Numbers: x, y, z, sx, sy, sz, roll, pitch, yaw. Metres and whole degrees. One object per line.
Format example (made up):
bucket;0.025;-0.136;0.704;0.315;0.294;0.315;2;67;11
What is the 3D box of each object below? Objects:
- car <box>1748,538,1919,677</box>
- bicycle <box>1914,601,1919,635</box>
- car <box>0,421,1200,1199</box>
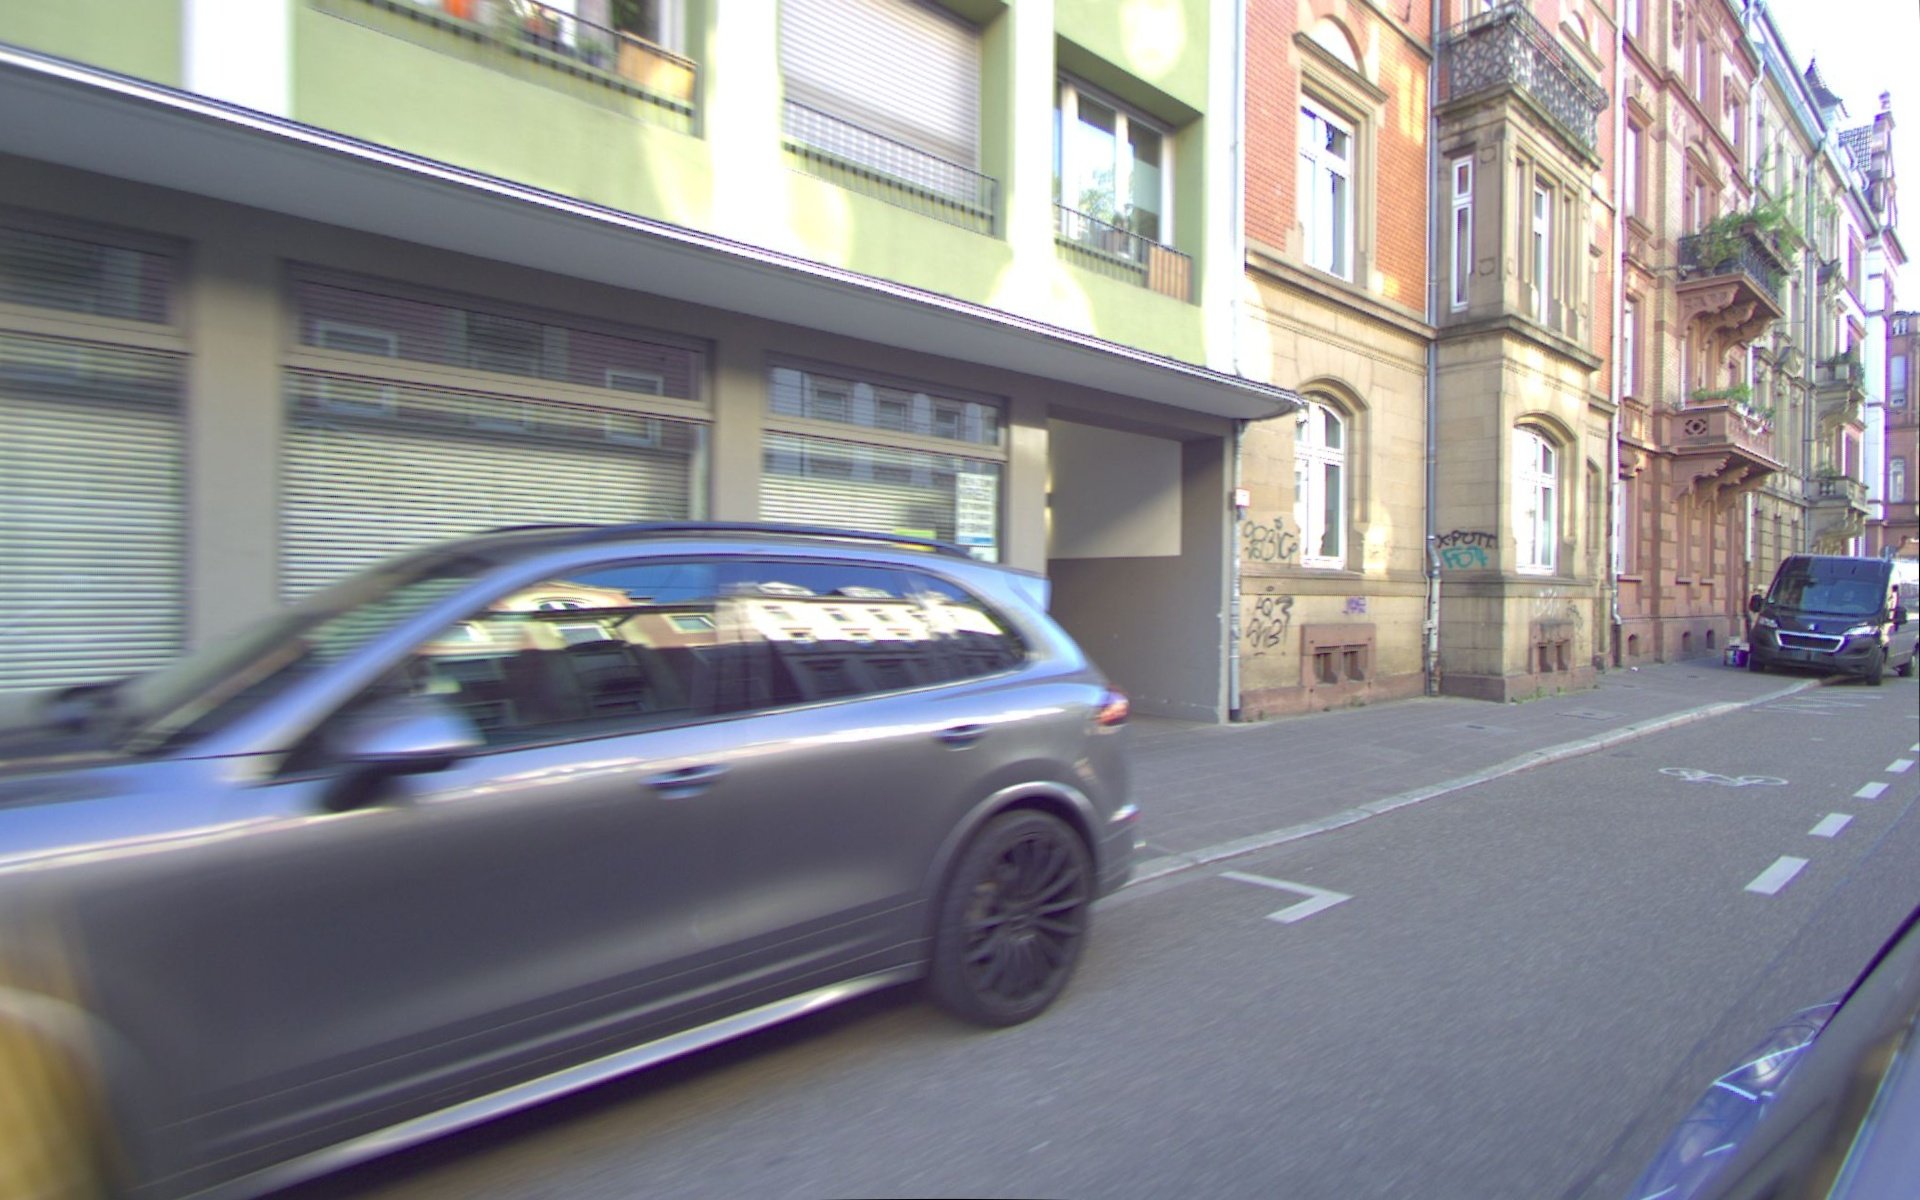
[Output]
car;18.475;0.107;21.013;5.751;2.524;2.127;-1;0;-40
bicycle;33.449;0.611;34.891;1.659;1.164;0.647;0;1;-42
car;-1.464;0.429;3.310;4.703;1.635;1.998;-1;4;-42
